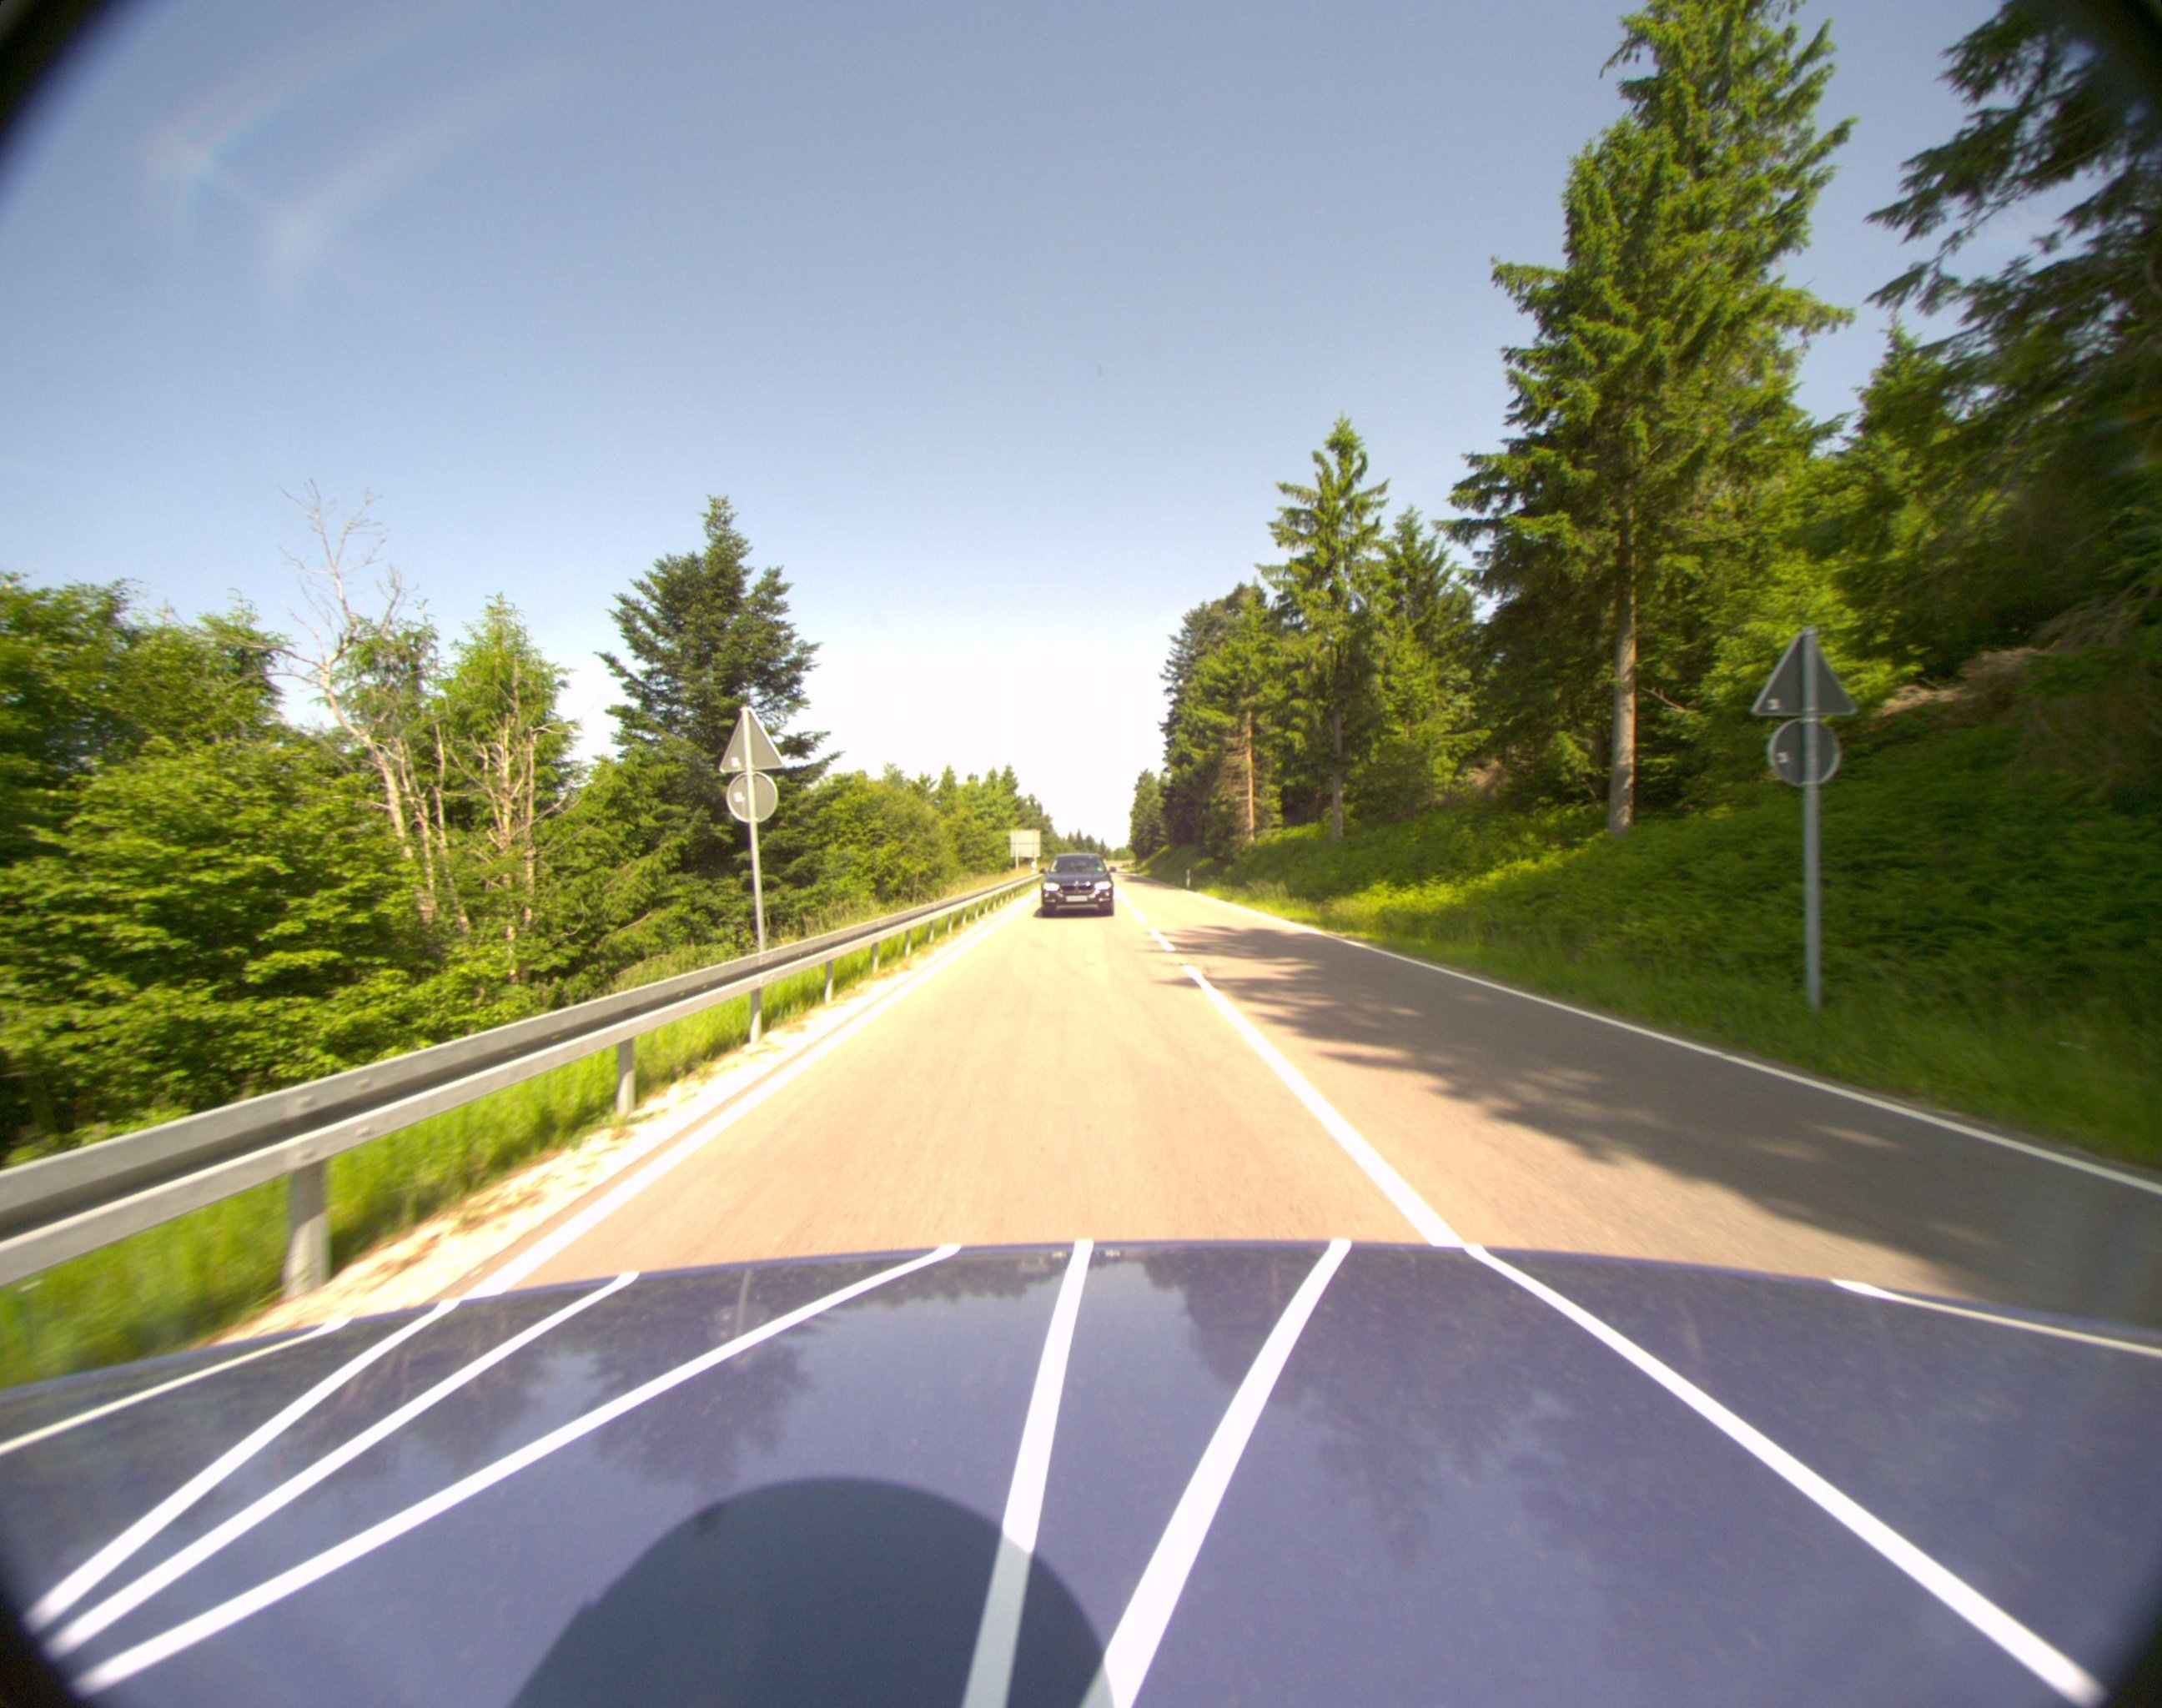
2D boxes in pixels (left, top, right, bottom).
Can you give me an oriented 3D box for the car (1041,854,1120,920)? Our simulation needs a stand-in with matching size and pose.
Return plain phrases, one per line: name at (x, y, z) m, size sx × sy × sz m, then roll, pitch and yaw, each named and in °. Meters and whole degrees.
car at (-0.029, 0.868, 22.527) m, size 1.999 × 1.676 × 5.936 m, roll -1°, pitch 0°, yaw 0°
